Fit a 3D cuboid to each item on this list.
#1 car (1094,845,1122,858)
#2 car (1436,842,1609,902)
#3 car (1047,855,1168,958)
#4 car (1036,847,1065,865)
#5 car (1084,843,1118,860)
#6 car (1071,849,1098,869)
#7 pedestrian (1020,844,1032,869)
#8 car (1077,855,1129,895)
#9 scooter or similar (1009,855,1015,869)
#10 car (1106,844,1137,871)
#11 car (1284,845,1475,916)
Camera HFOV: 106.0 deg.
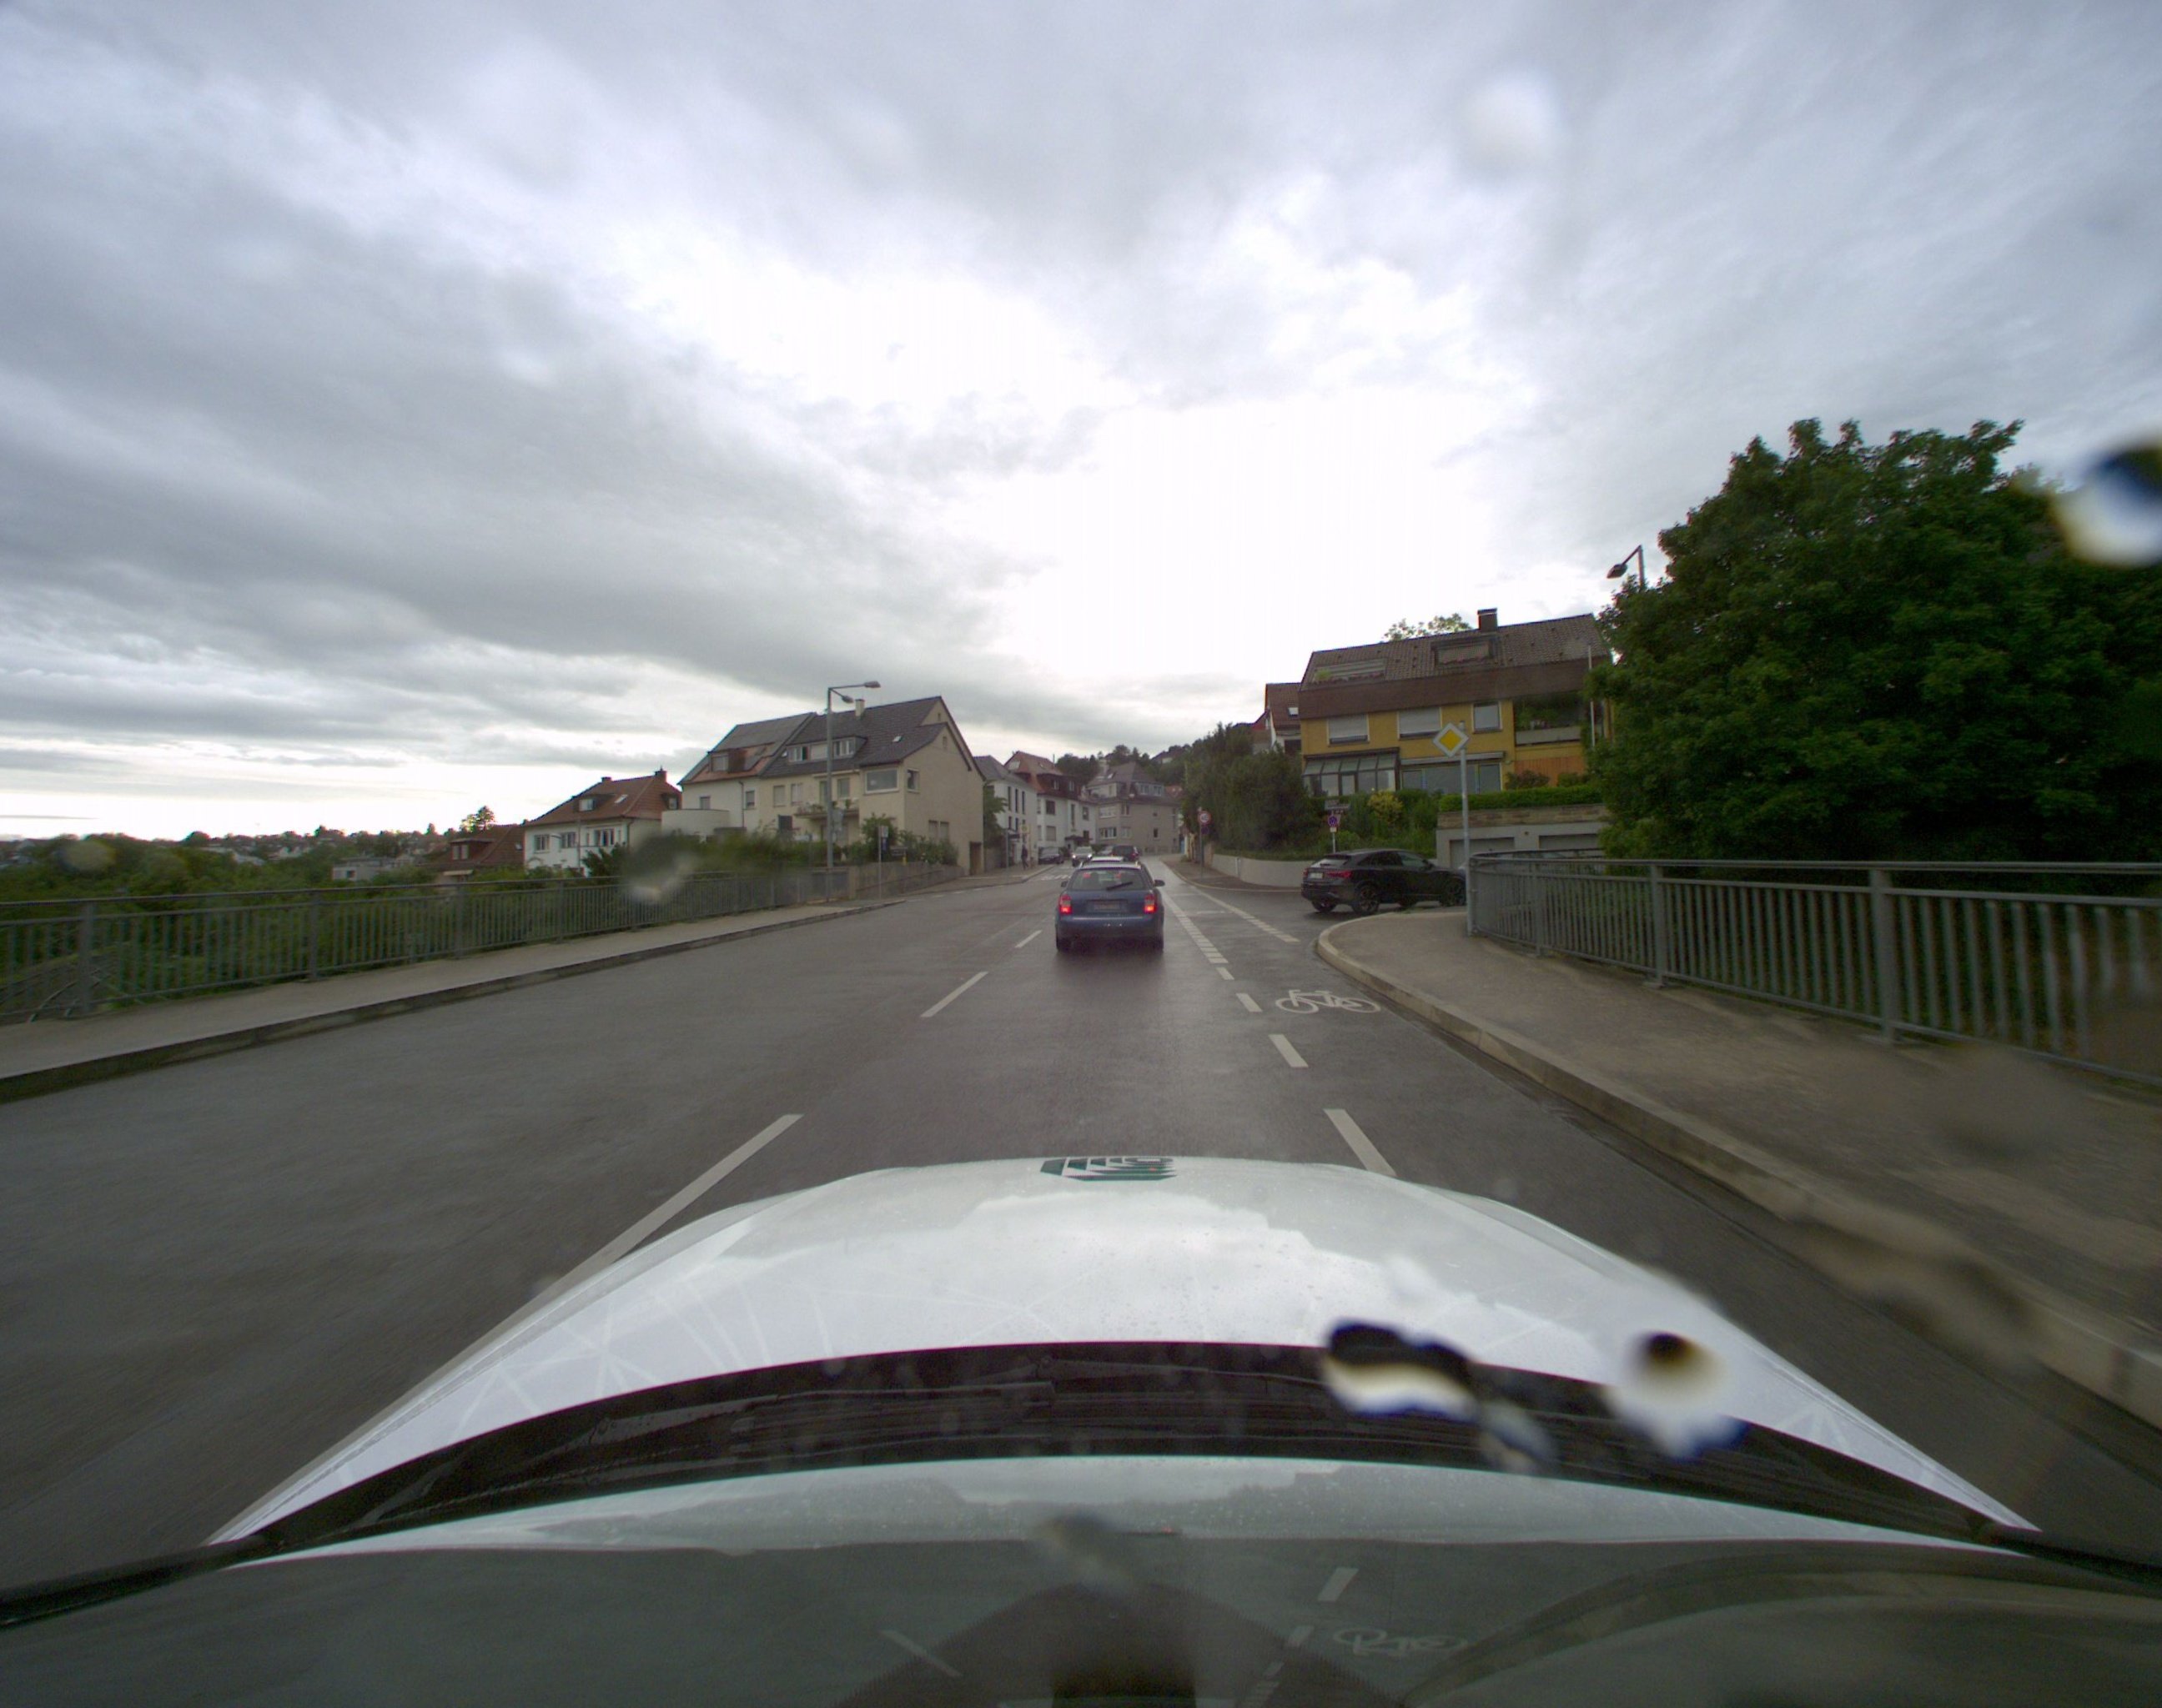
[{"bbox_3d":[3.289,-0.343,98.822,1.819,1.425,4.255,-4,0,25],"label":"car"},{"bbox_3d":[11.884,0.466,21.962,4.054,1.425,1.790,-1,-1,-18],"label":"car"},{"bbox_3d":[0.545,0.797,14.245,1.803,1.439,4.086,0,1,4],"label":"car"},{"bbox_3d":[-2.726,0.126,73.887,1.819,1.485,5.000,-3,0,6],"label":"car"},{"bbox_3d":[2.667,-0.311,108.237,3.948,1.822,2.013,-8,-2,31],"label":"car"},{"bbox_3d":[0.333,0.412,66.827,1.724,1.545,4.008,-3,0,7],"label":"car"},{"bbox_3d":[-4.105,0.204,60.582,0.783,1.857,0.728,-1,0,3],"label":"pedestrian"},{"bbox_3d":[0.753,0.750,30.202,1.806,1.361,3.998,0,0,-1],"label":"car"},{"bbox_3d":[-5.857,0.670,69.343,0.336,1.219,1.124,-1,0,5],"label":"scooter or similar"},{"bbox_3d":[2.716,0.251,54.045,1.919,1.706,4.005,0,-1,4],"label":"car"},{"bbox_3d":[7.439,0.598,20.356,4.203,1.522,1.986,-1,1,-20],"label":"car"}]
